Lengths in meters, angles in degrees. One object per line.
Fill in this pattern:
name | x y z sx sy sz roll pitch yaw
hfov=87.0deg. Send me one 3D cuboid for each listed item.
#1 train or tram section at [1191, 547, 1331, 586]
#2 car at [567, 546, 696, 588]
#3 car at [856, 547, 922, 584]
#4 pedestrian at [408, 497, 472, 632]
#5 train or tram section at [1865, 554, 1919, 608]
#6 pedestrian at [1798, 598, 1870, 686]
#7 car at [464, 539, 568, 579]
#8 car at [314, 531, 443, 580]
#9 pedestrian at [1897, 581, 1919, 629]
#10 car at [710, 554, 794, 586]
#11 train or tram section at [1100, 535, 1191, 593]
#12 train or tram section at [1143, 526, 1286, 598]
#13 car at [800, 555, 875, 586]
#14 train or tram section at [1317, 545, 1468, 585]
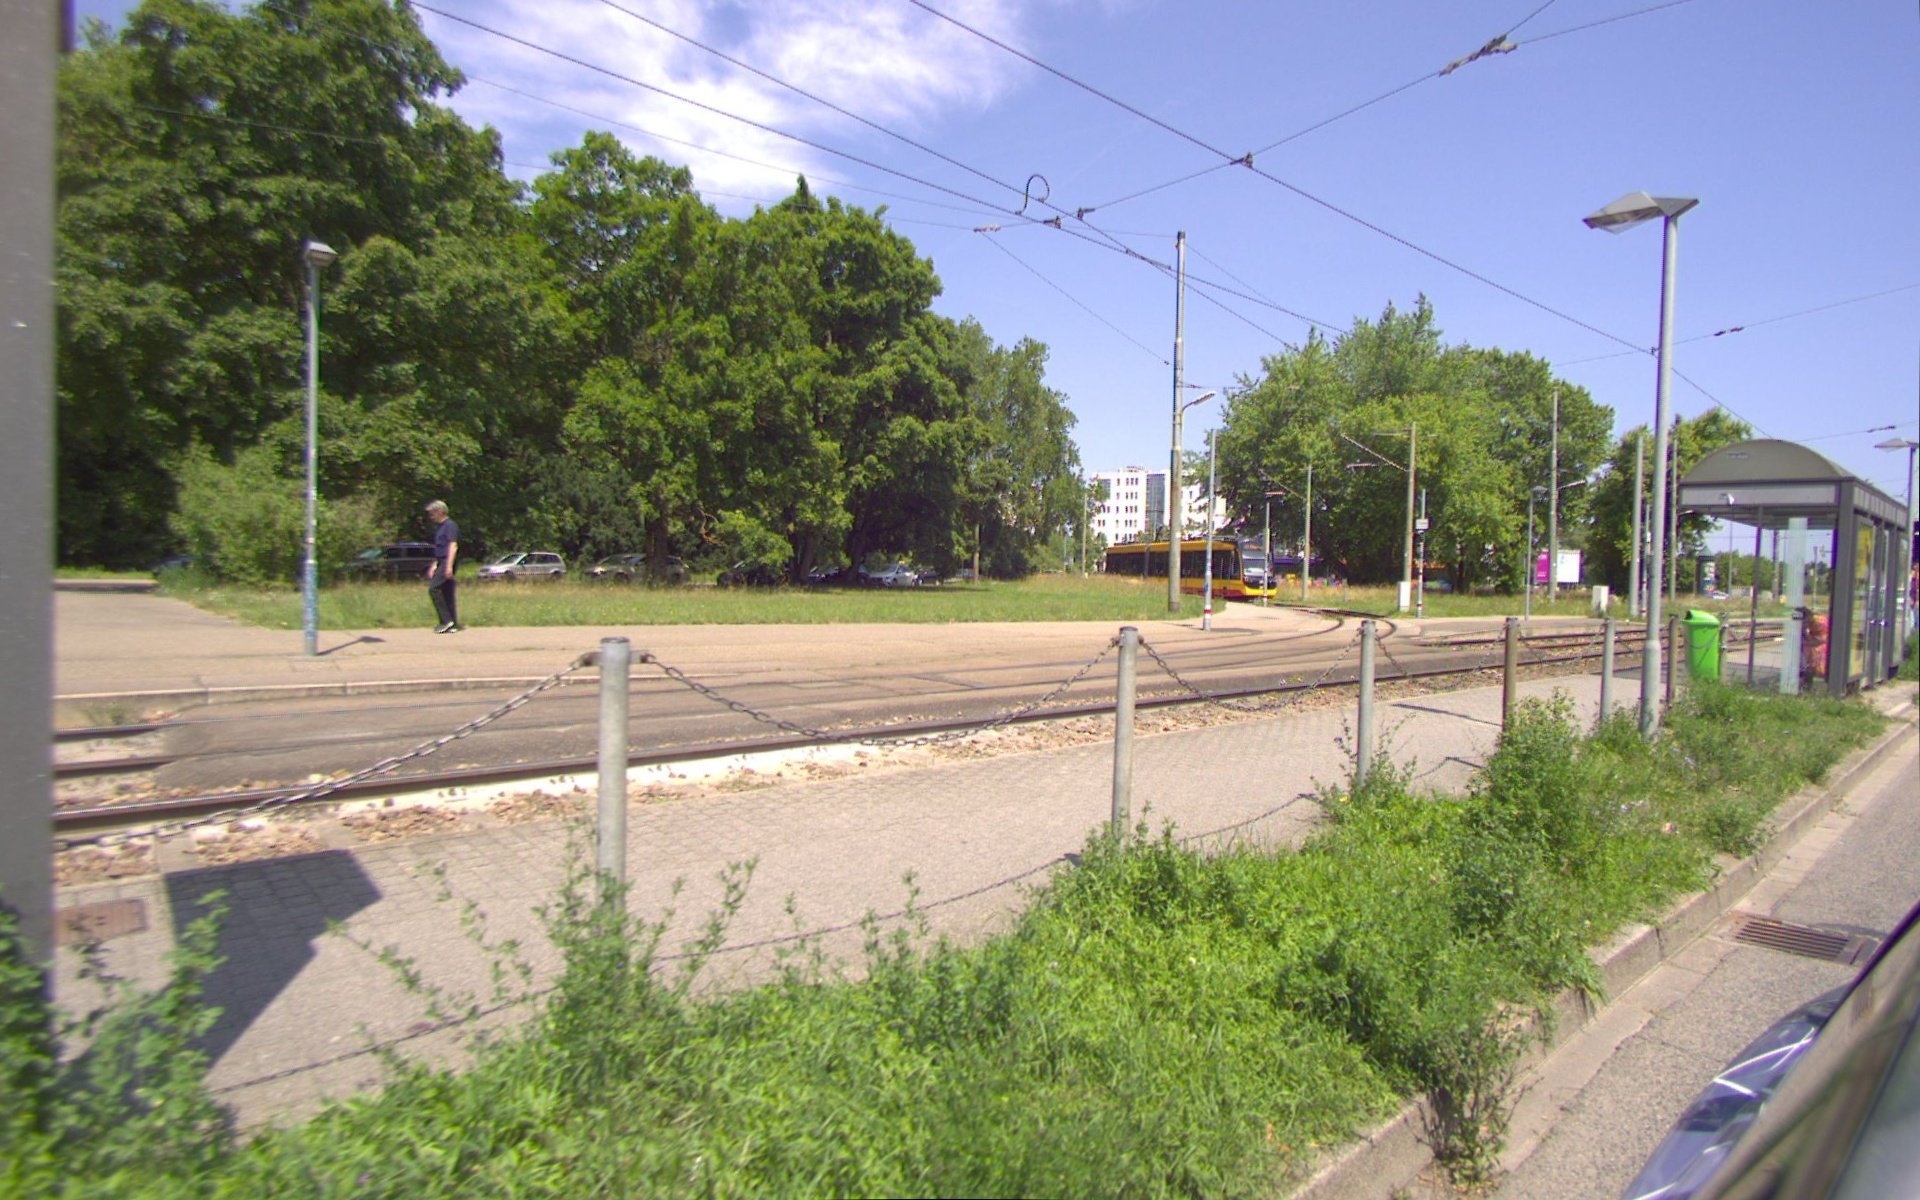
train or tram section | 29.120 -3.244 98.082 12.981 3.694 2.720 -1 1 -8
car | -13.694 -1.365 42.488 2.109 1.631 5.000 3 2 31
car | -4.093 -2.027 58.969 1.940 2.038 4.275 3 3 27
pedestrian | -7.130 -0.485 13.872 0.646 1.786 0.708 0 2 -39
train or tram section | 63.908 -1.380 68.804 7.134 3.362 2.524 -3 4 -40
pedestrian | 11.014 0.511 12.749 0.569 1.052 0.576 0 2 -41
car | -19.834 -1.820 45.313 1.839 1.682 3.957 3 2 31
car | -22.724 -1.714 39.700 1.982 1.793 3.961 3 2 28
pedestrian | 23.305 0.123 24.691 0.610 1.143 0.610 -1 1 -42
car | -9.912 -1.450 48.492 1.940 1.440 3.909 3 3 27
train or tram section | 12.666 -2.441 70.545 2.661 3.694 13.269 -1 1 -6
train or tram section | 14.346 -2.154 58.822 2.659 3.694 13.212 -1 1 -11
car | -6.489 -1.598 54.065 1.689 1.558 4.573 3 3 27
train or tram section | 41.499 -3.360 97.573 13.046 3.694 2.706 0 1 12
